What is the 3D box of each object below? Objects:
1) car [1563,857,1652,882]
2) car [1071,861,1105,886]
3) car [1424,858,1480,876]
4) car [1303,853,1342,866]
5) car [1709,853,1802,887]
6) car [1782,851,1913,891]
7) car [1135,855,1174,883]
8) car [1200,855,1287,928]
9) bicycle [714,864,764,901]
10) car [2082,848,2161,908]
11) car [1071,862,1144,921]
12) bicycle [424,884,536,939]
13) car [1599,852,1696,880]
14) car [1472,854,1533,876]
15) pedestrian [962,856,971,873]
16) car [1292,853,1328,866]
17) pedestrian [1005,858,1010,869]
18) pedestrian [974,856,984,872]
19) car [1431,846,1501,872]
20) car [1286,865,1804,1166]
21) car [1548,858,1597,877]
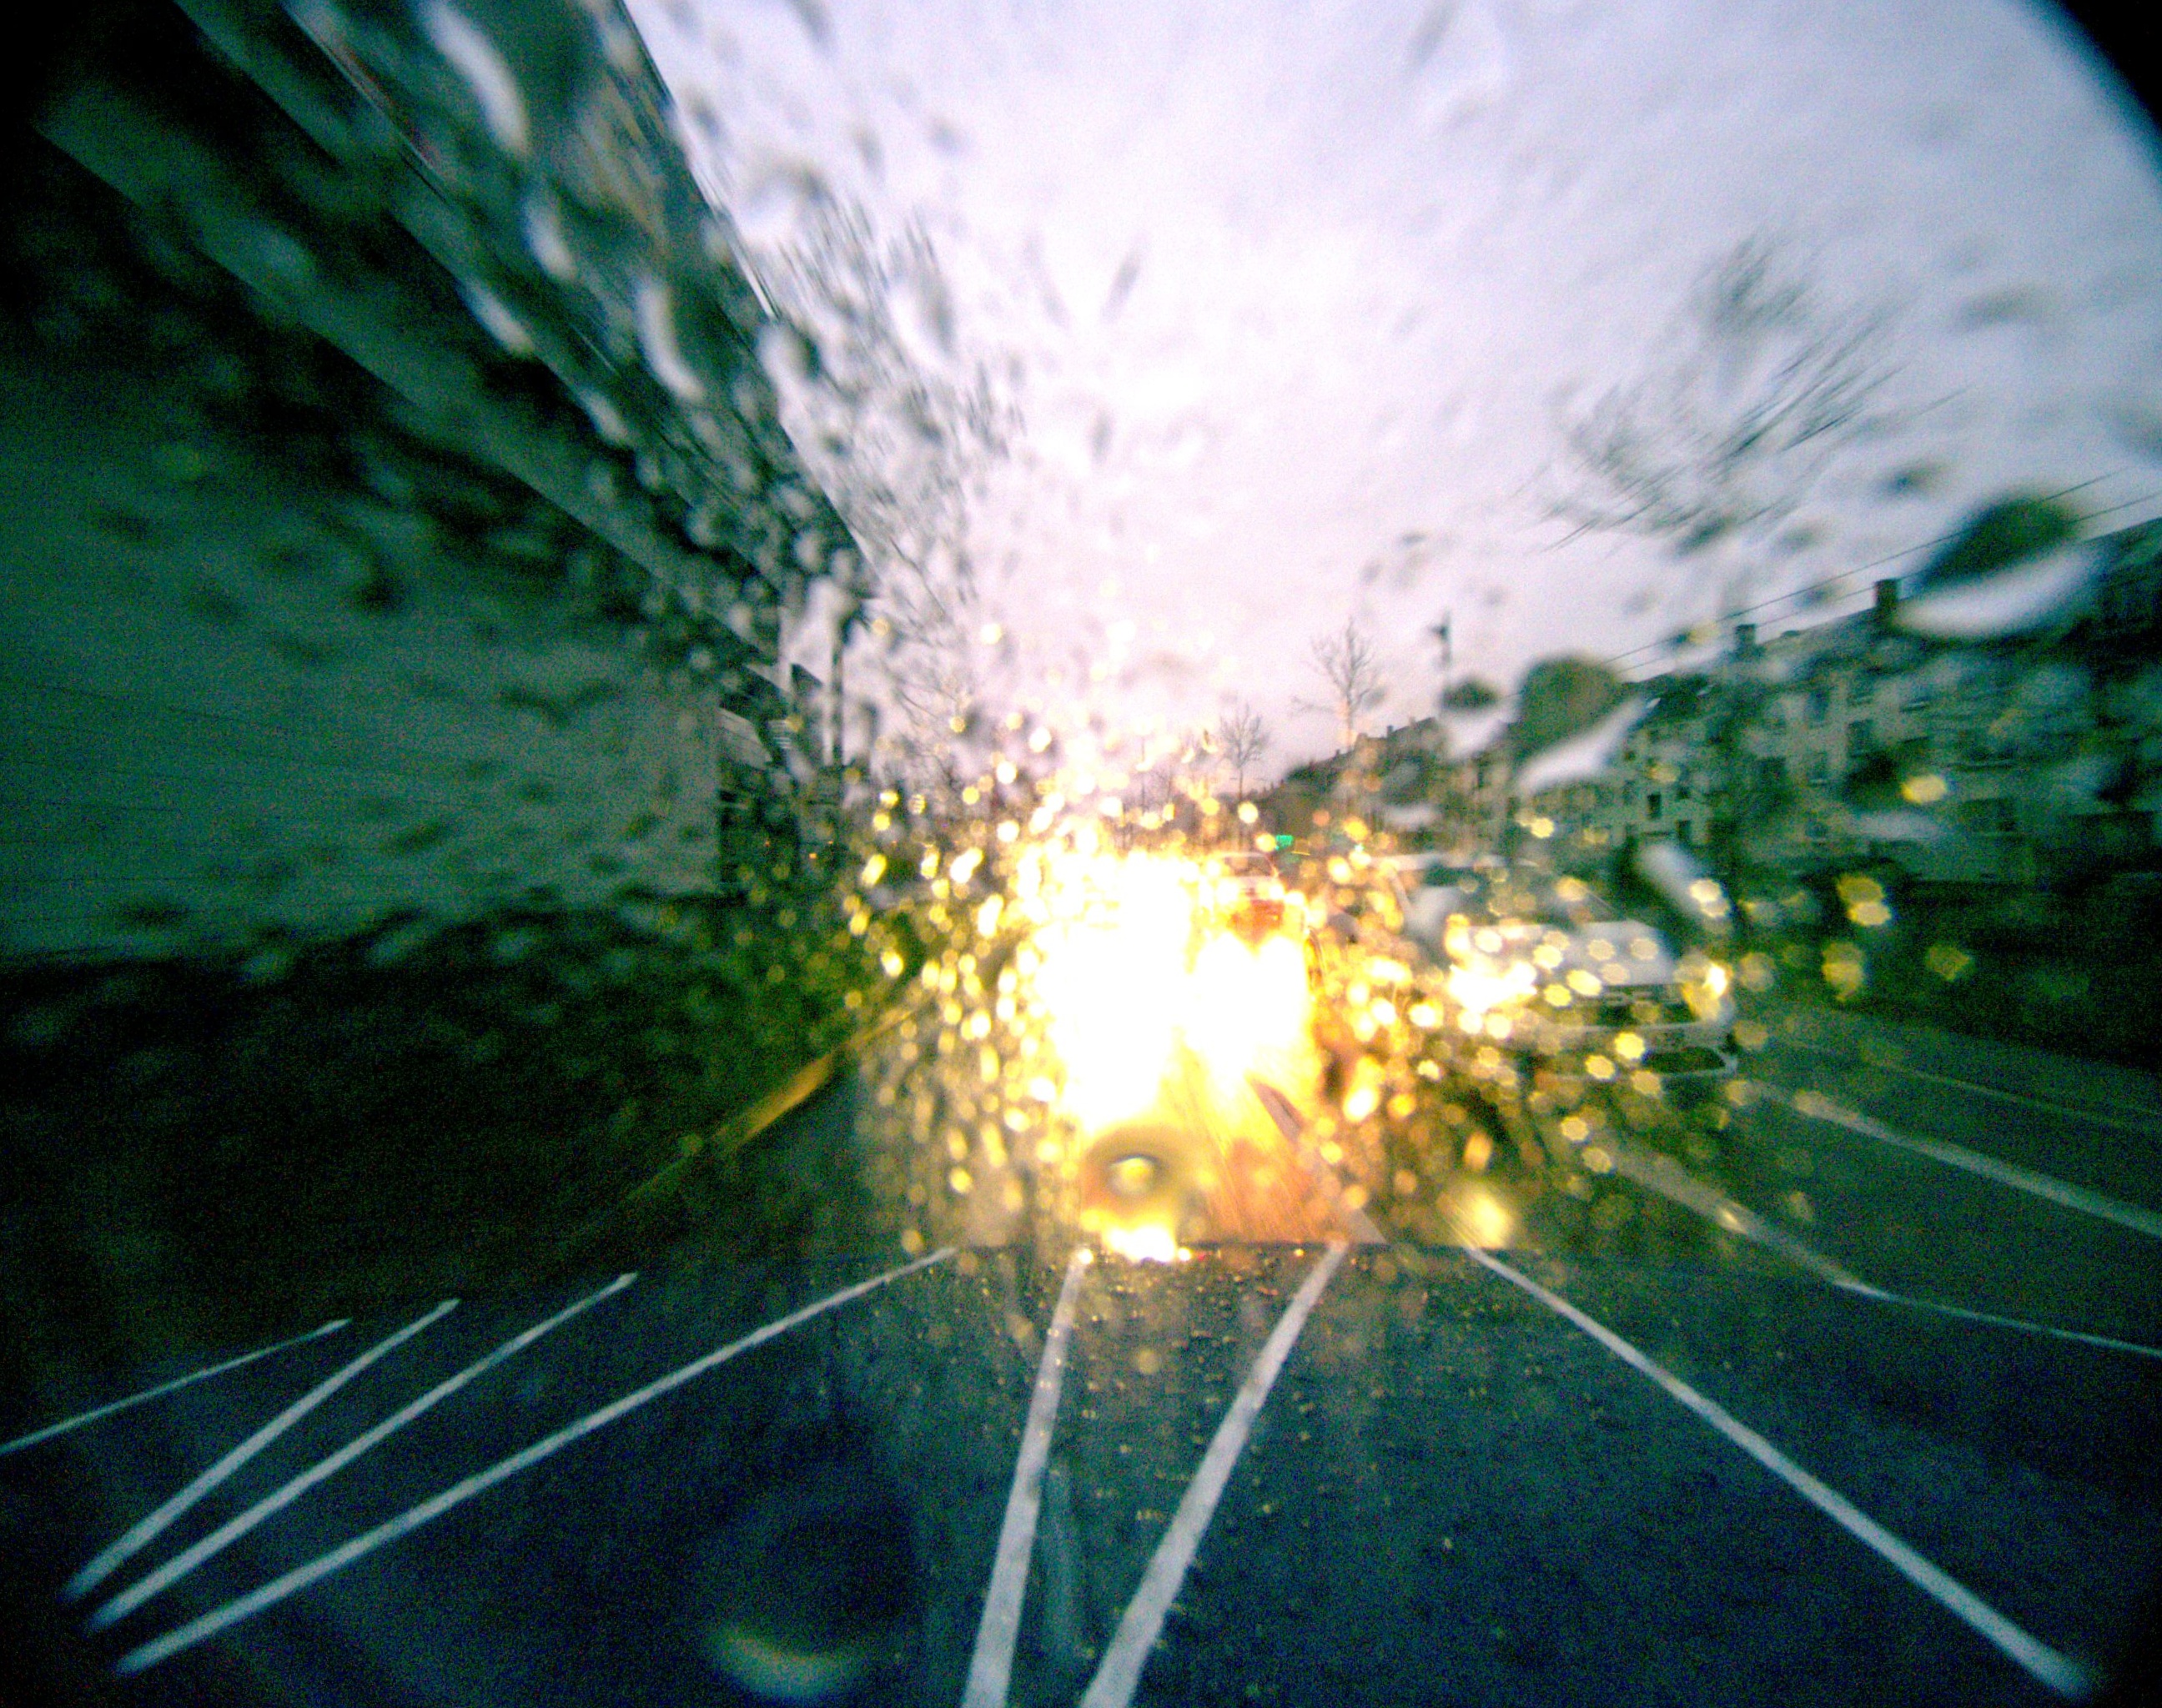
[{"bbox_3d":[29.379,0.878,42.419,3.811,1.165,1.741,-3,0,44],"label":"car"},{"bbox_3d":[0.377,1.098,43.772,1.737,1.311,3.803,-3,0,-2],"label":"car"},{"bbox_3d":[27.549,0.999,56.488,3.563,1.134,1.740,-3,0,31],"label":"car"},{"bbox_3d":[28.863,0.652,90.834,4.095,1.154,1.715,-5,1,37],"label":"car"},{"bbox_3d":[29.435,0.690,33.274,2.929,1.328,1.741,-3,0,38],"label":"car"},{"bbox_3d":[29.855,0.686,29.738,3.376,1.413,1.673,-3,0,37],"label":"car"},{"bbox_3d":[4.228,0.820,44.138,1.905,1.475,3.655,-3,0,0],"label":"car"},{"bbox_3d":[3.836,0.814,18.487,1.637,1.510,3.909,-3,0,6],"label":"car"},{"bbox_3d":[-12.479,1.029,27.767,0.411,1.277,1.747,-2,0,26],"label":"bicycle"},{"bbox_3d":[29.968,0.588,19.929,4.151,1.532,1.673,-3,0,35],"label":"car"},{"bbox_3d":[0.620,0.930,20.279,1.669,1.325,3.786,-3,0,-2],"label":"car"},{"bbox_3d":[-11.790,1.120,14.926,1.814,1.045,0.396,0,0,-3],"label":"bicycle"},{"bbox_3d":[29.461,0.645,39.646,3.834,1.238,1.741,-3,0,30],"label":"car"},{"bbox_3d":[29.138,0.751,52.544,3.571,1.301,1.689,-3,0,31],"label":"car"},{"bbox_3d":[-11.395,1.031,75.565,0.673,1.615,0.615,-3,0,14],"label":"pedestrian"},{"bbox_3d":[28.367,0.658,94.138,4.034,1.223,1.350,-5,1,35],"label":"car"},{"bbox_3d":[-10.879,1.404,112.505,0.669,1.646,0.994,0,1,-7],"label":"pedestrian"},{"bbox_3d":[-10.407,1.058,77.528,0.674,1.603,0.615,-3,0,12],"label":"pedestrian"},{"bbox_3d":[29.664,0.396,58.589,4.647,1.713,1.837,-3,0,32],"label":"car"},{"bbox_3d":[2.968,0.882,5.985,1.692,1.465,4.001,-3,0,2],"label":"car"},{"bbox_3d":[29.565,0.827,45.725,2.386,1.042,1.440,-3,-1,31],"label":"car"}]
